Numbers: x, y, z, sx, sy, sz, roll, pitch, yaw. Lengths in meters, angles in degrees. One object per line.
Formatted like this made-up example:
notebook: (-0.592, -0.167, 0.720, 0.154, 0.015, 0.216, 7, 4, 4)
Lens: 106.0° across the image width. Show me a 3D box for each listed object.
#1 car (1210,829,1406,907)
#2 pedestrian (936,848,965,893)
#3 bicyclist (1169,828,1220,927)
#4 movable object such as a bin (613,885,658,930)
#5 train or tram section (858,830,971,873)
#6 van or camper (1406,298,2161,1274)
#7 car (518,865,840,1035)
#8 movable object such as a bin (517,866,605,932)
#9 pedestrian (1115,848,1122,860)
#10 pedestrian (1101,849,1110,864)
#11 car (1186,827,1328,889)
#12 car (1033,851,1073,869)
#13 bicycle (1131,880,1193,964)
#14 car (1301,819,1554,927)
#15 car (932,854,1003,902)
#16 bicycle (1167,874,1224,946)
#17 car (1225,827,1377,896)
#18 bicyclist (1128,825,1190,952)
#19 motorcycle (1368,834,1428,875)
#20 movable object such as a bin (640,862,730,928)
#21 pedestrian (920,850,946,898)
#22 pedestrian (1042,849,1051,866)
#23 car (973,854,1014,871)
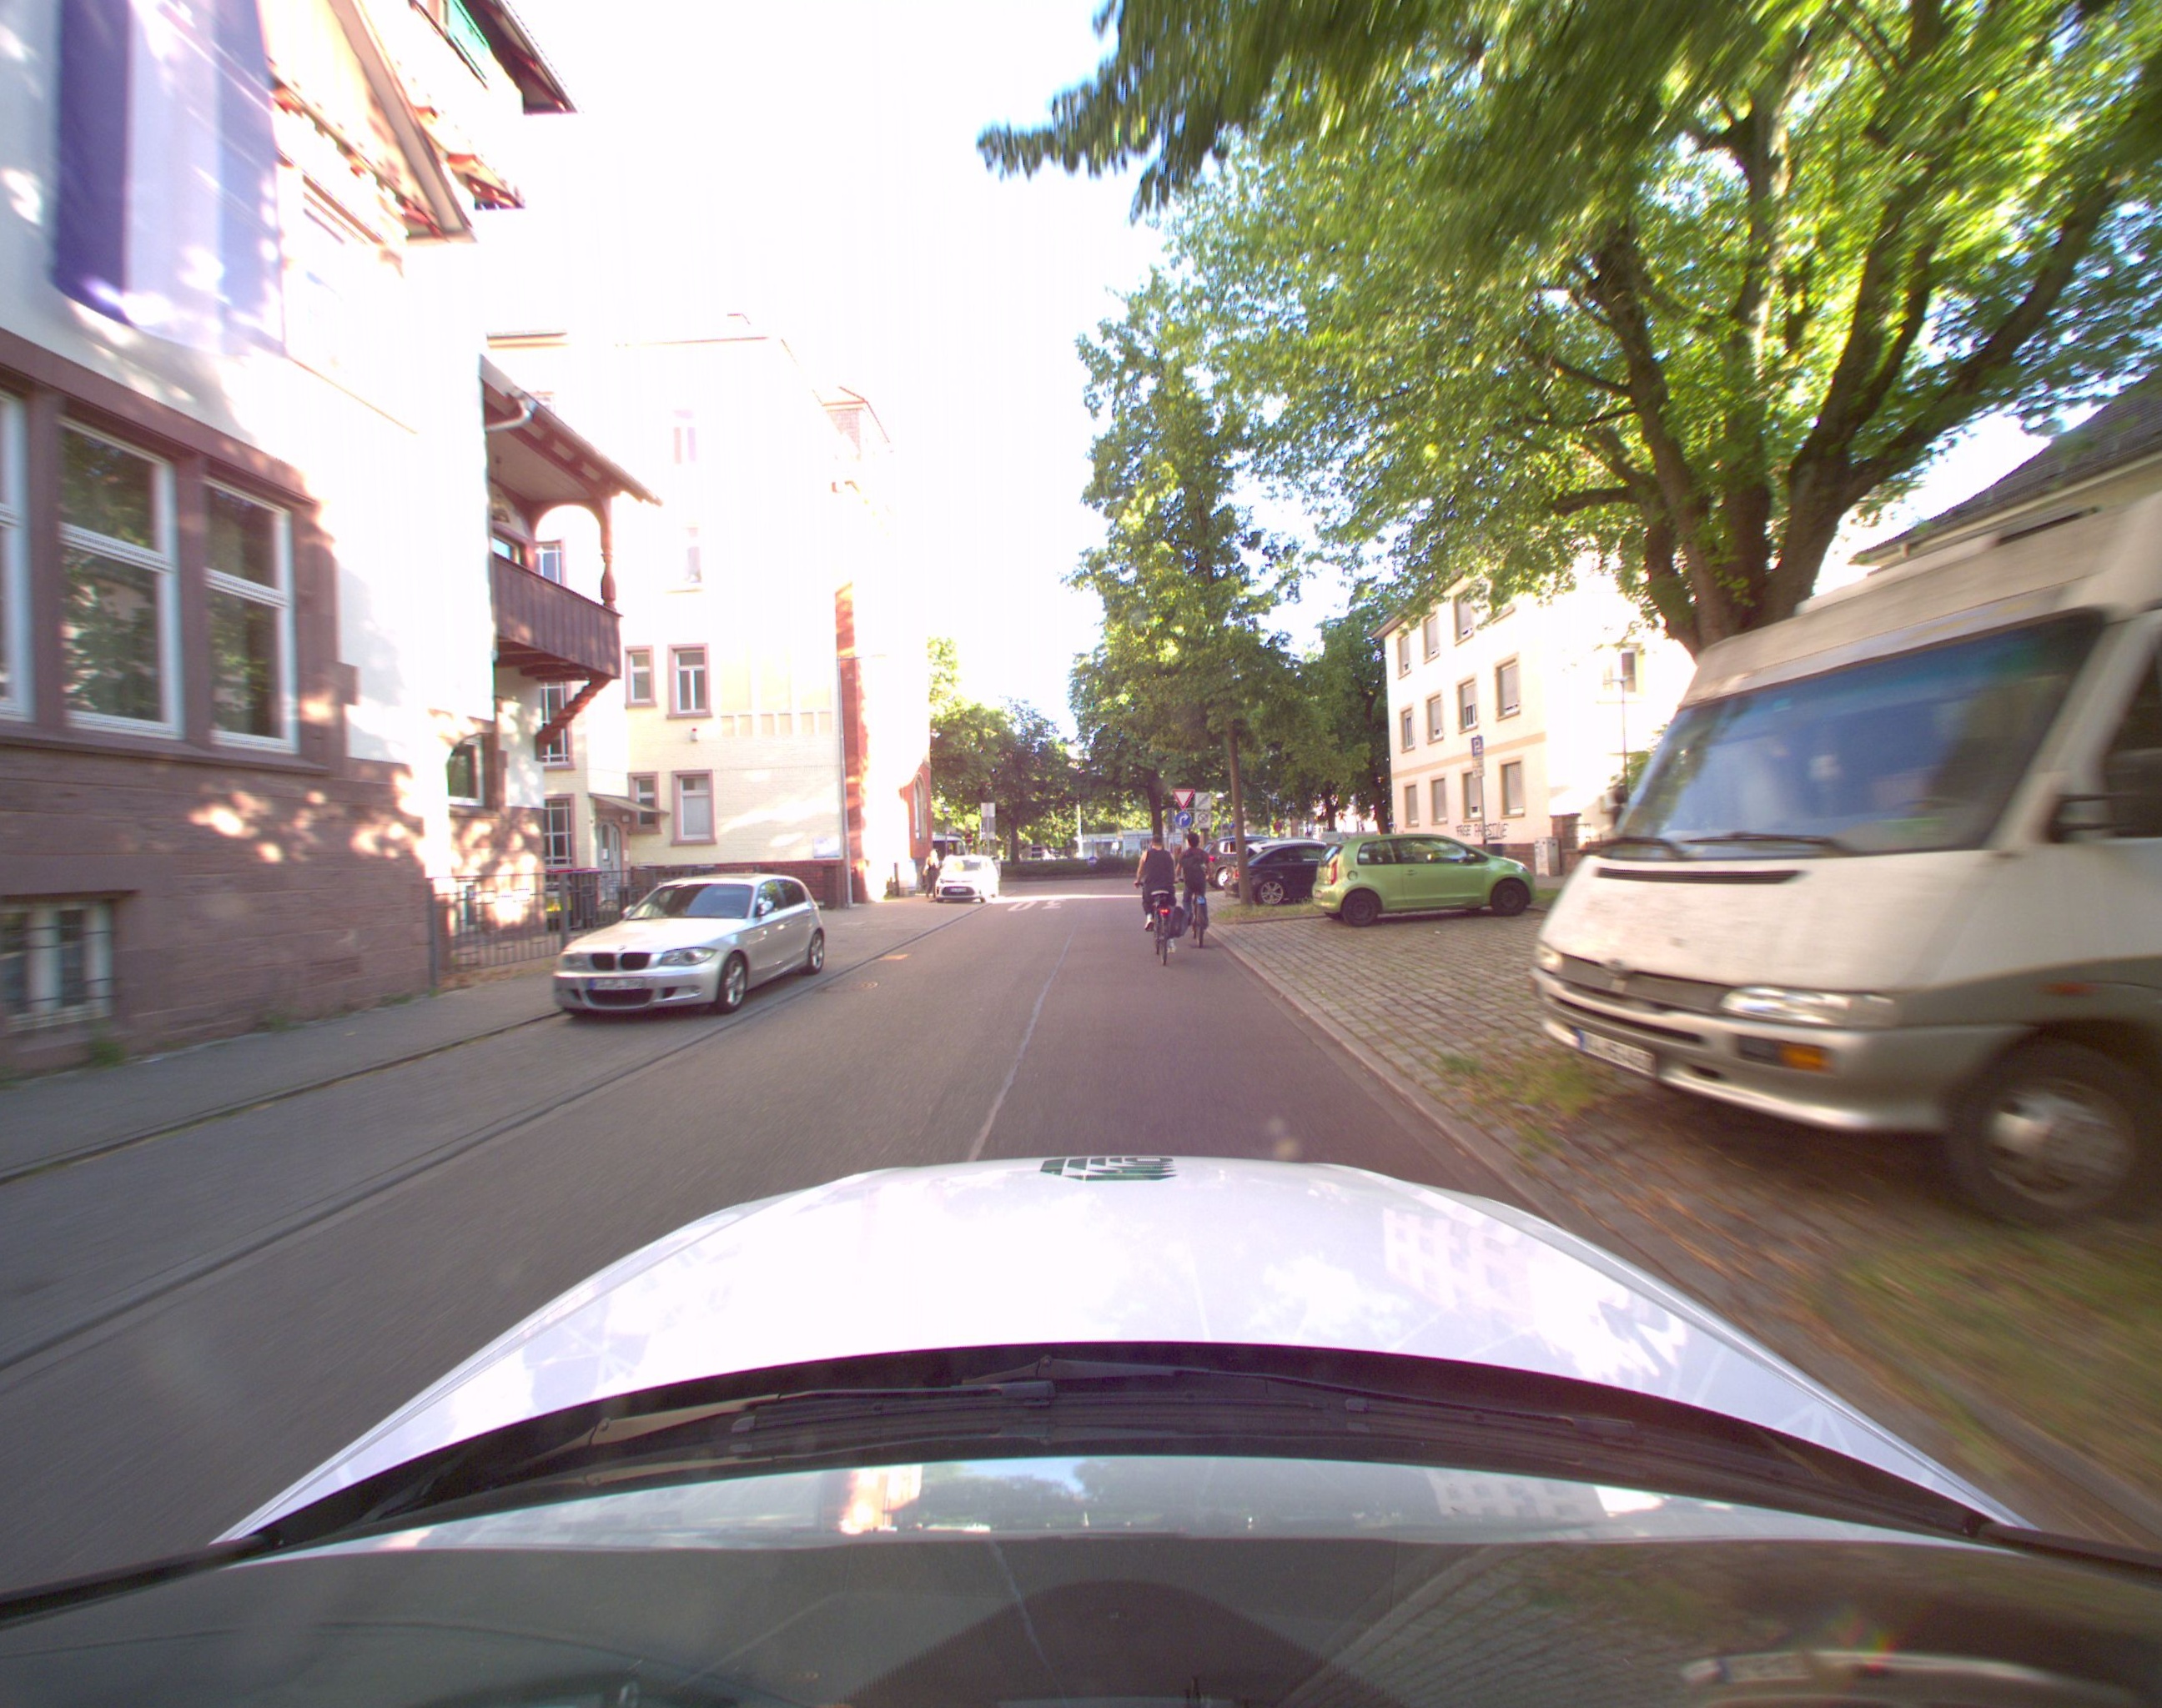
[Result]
car: (5.253, 0.315, 19.266, 4.089, 1.411, 1.793, -5, 0, 2)
pedestrian: (-4.949, 0.608, 30.831, 0.864, 1.643, 0.861, -2, 0, 2)
bicyclist: (1.826, 0.374, 13.232, 0.669, 1.514, 1.070, -3, -1, 3)
movable object such as a bin: (-9.207, 1.092, 16.840, 0.477, 0.879, 0.675, -2, 0, 11)
train or tram section: (-13.102, -0.219, 64.188, 8.448, 3.177, 2.842, 0, 0, -21)
van or camper: (5.620, -0.363, 3.915, 7.055, 3.077, 2.464, -3, 0, -1)
car: (-4.367, 0.929, 9.677, 1.738, 1.466, 4.102, -2, 0, 0)
movable object such as a bin: (-11.085, 0.948, 17.402, 1.378, 1.317, 0.686, -2, 0, -6)
pedestrian: (5.451, -0.026, 118.738, 0.997, 1.630, 1.064, -3, 0, 0)
pedestrian: (2.537, 0.265, 83.592, 0.809, 1.543, 0.818, 0, 0, -10)
car: (5.678, 0.107, 26.588, 4.096, 1.712, 2.022, -4, 1, -3)
car: (-3.217, 0.664, 92.909, 4.005, 1.870, 1.984, -3, 0, -24)
bicycle: (1.101, 0.902, 11.460, 0.735, 1.012, 2.062, 0, 0, 2)
car: (5.785, 0.298, 13.924, 3.575, 1.505, 1.679, -4, 1, 2)
car: (-3.714, 0.743, 27.299, 1.698, 1.485, 3.799, 0, 0, 2)
bicycle: (1.846, 0.877, 13.388, 0.671, 1.054, 2.062, -2, -1, 1)
car: (5.842, 0.198, 21.975, 3.675, 1.651, 1.707, -2, 0, 5)
bicyclist: (1.075, 0.470, 11.439, 0.749, 1.682, 0.914, -3, 0, 2)
motorcycle: (10.768, 0.006, 27.752, 0.974, 1.280, 2.177, -3, 0, -6)
movable object such as a bin: (-8.361, 0.849, 17.232, 1.367, 1.299, 0.971, -2, 0, 11)
pedestrian: (-5.038, 0.663, 27.741, 0.597, 1.605, 0.856, -3, 0, 3)
pedestrian: (-3.452, 0.389, 81.179, 0.704, 1.695, 0.666, 0, 0, -20)
car: (-9.521, 0.931, 88.912, 3.971, 1.679, 1.931, -3, 0, -42)
